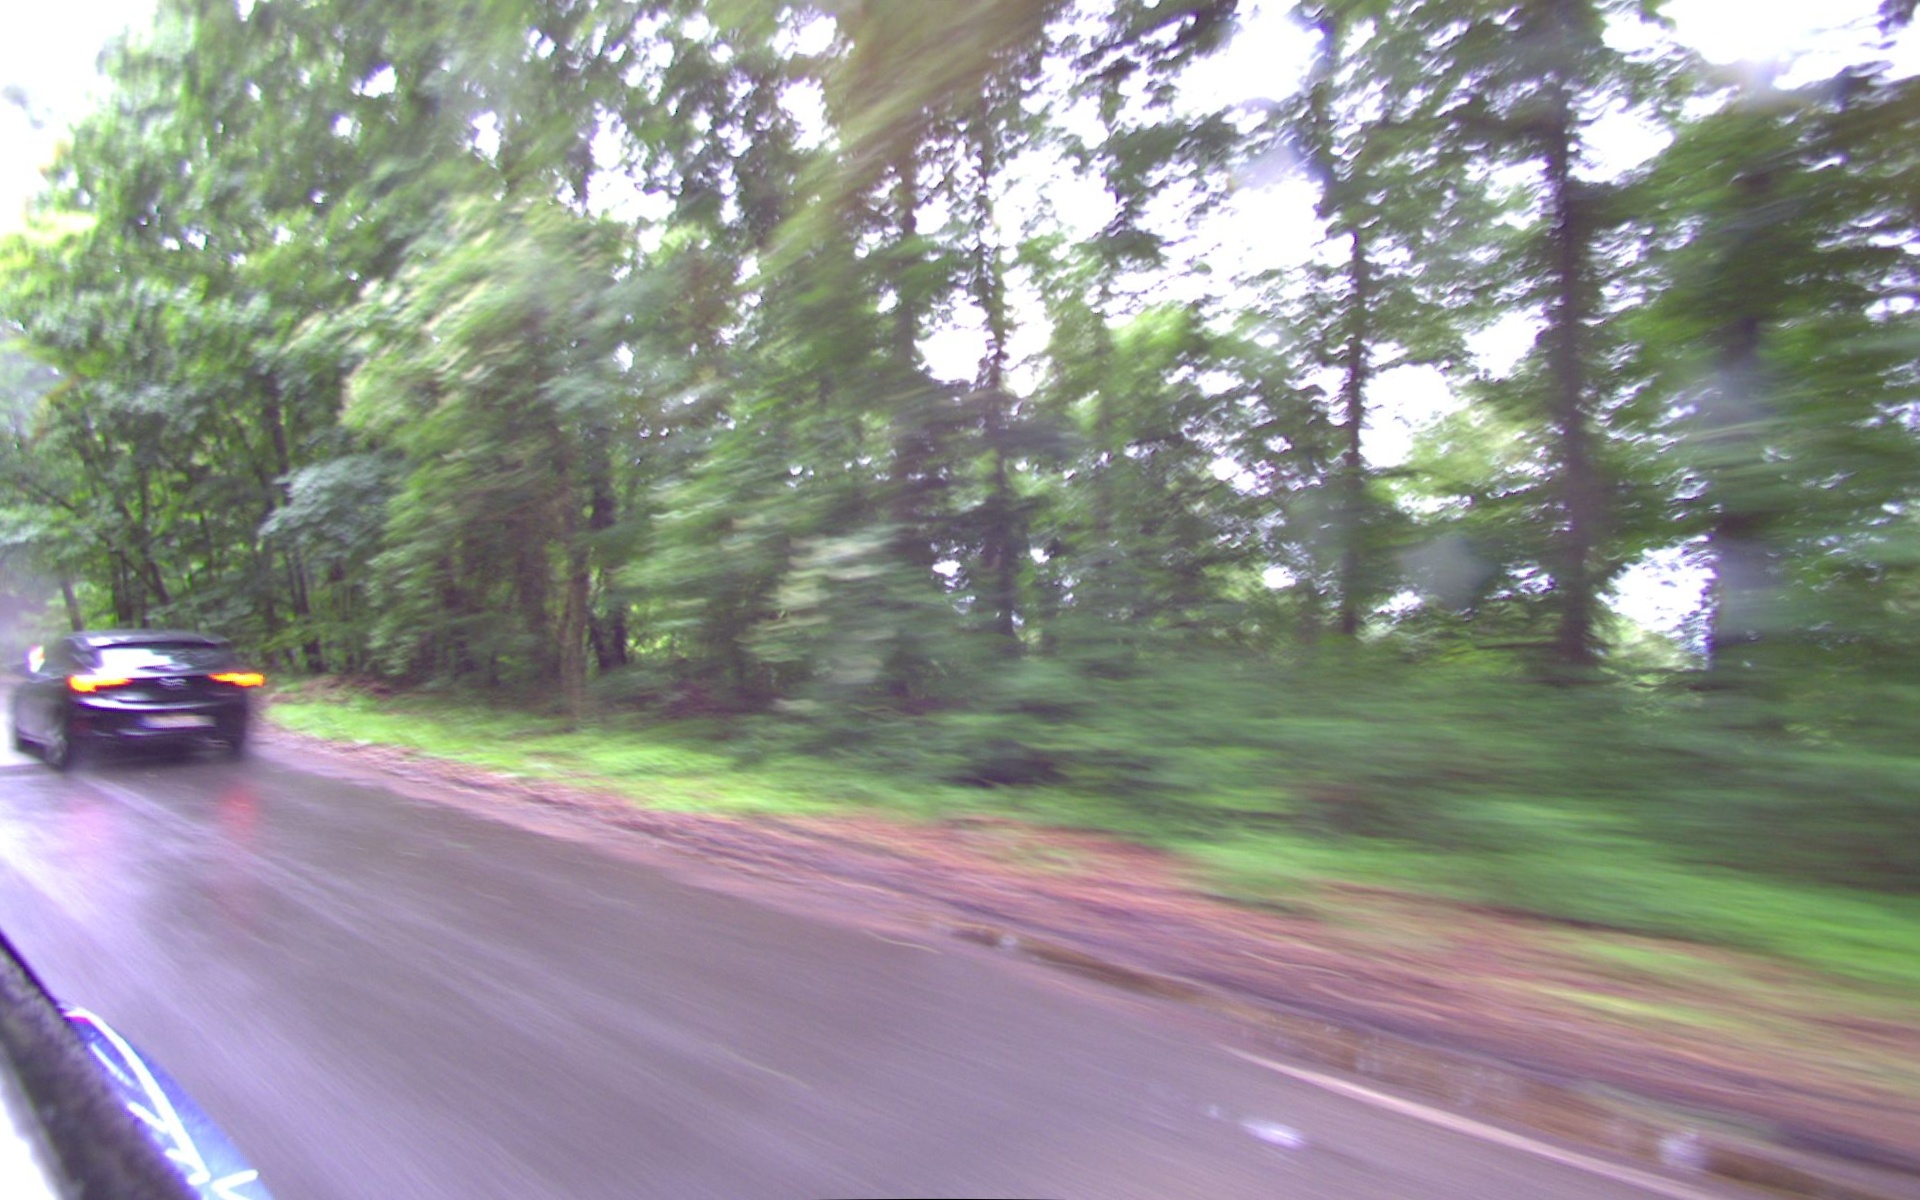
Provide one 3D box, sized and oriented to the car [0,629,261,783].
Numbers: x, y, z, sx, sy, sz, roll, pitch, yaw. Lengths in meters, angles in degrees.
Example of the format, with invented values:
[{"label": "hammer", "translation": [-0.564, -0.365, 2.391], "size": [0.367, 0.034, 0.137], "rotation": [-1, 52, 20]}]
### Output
[{"label": "car", "translation": [-9.802, 1.101, 11.859], "size": [3.888, 1.486, 1.696], "rotation": [-1, -2, 41]}]
